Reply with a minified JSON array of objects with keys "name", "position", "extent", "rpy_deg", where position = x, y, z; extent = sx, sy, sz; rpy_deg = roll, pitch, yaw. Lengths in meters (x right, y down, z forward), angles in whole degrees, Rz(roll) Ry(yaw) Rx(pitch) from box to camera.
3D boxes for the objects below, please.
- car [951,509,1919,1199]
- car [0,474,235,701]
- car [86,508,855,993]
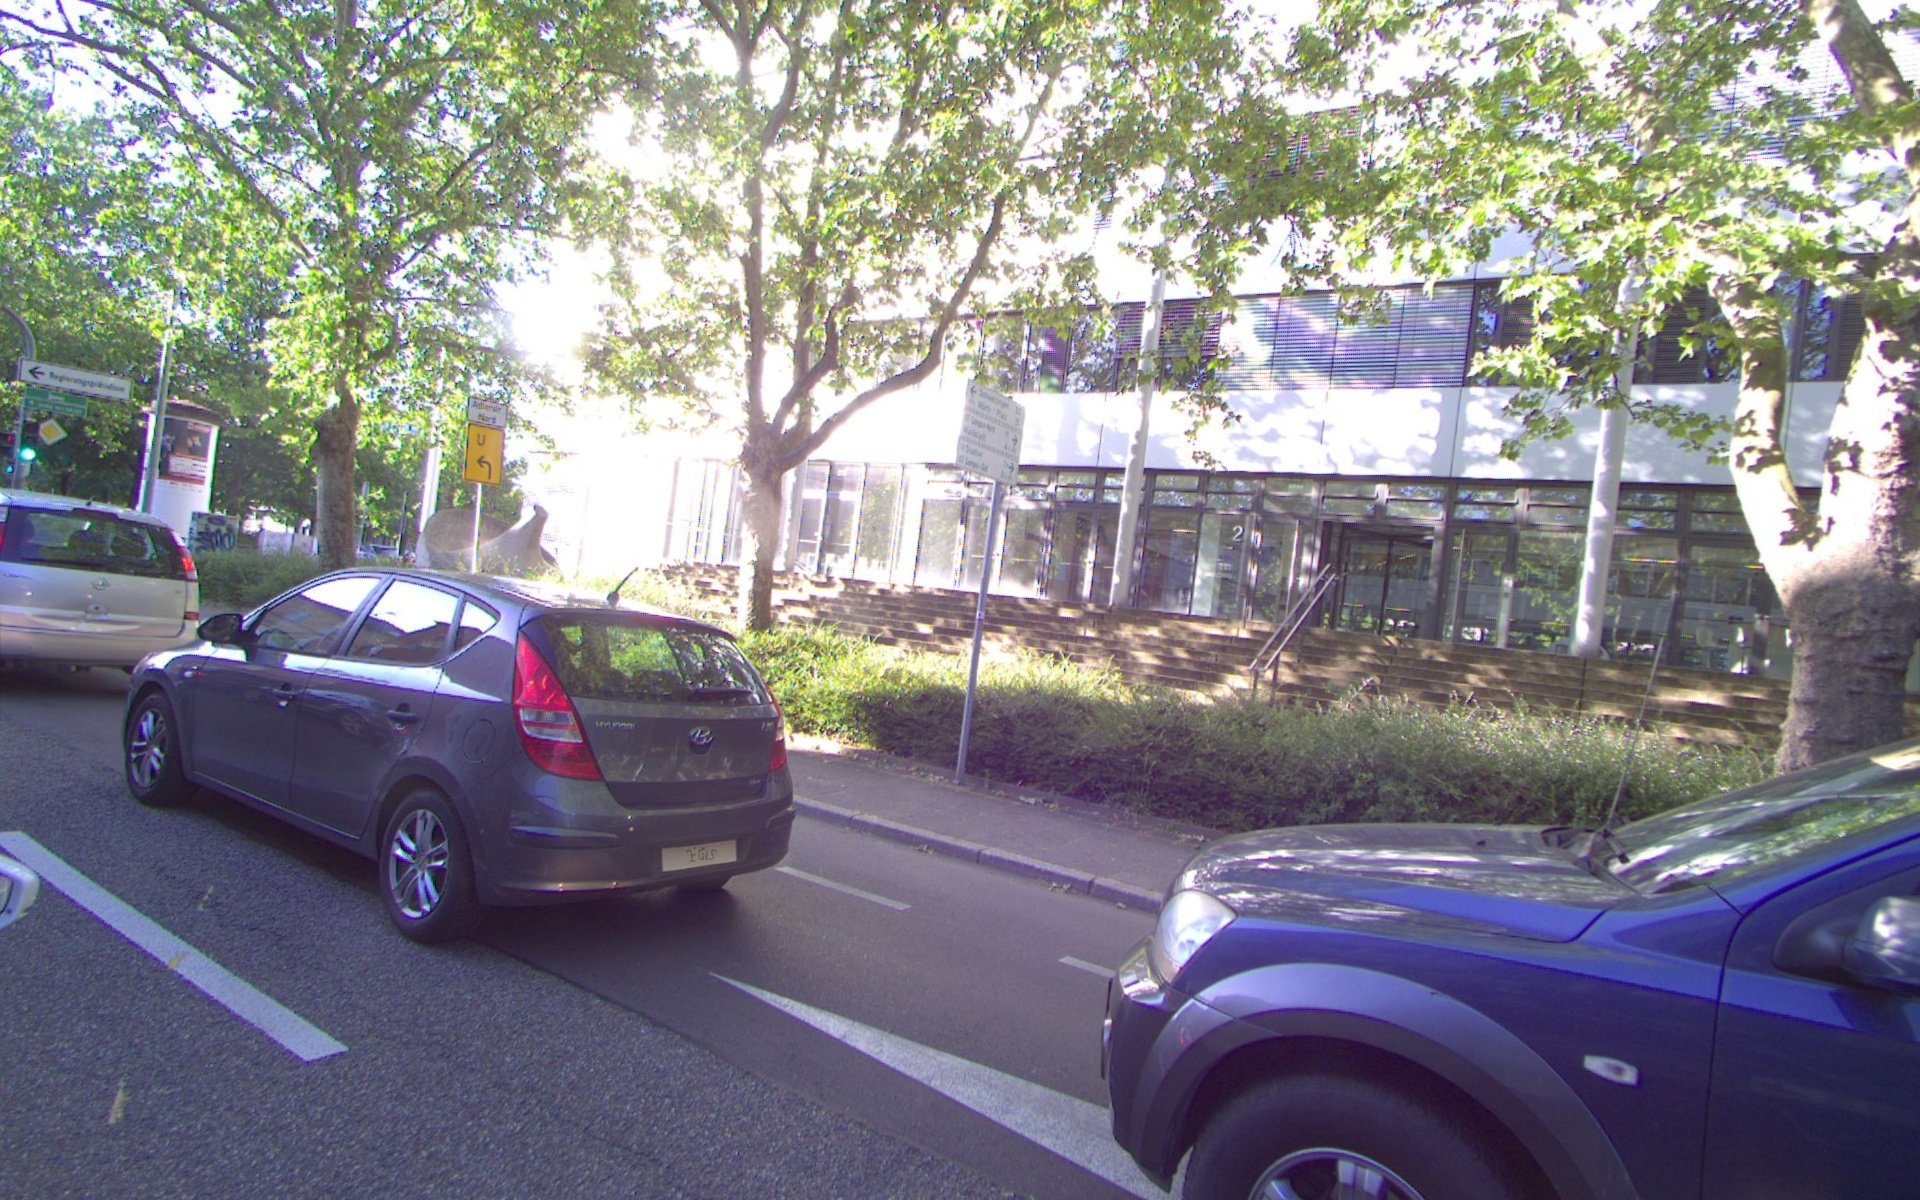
[{"name":"car","position":[2.406,0.975,2.014],"extent":[4.407,1.784,1.865],"rpy_deg":[7,-1,32]},{"name":"car","position":[-8.454,-0.199,9.055],"extent":[3.620,1.681,1.734],"rpy_deg":[6,-2,32]},{"name":"car","position":[-2.714,0.520,5.344],"extent":[3.934,1.537,1.708],"rpy_deg":[7,-1,32]}]
